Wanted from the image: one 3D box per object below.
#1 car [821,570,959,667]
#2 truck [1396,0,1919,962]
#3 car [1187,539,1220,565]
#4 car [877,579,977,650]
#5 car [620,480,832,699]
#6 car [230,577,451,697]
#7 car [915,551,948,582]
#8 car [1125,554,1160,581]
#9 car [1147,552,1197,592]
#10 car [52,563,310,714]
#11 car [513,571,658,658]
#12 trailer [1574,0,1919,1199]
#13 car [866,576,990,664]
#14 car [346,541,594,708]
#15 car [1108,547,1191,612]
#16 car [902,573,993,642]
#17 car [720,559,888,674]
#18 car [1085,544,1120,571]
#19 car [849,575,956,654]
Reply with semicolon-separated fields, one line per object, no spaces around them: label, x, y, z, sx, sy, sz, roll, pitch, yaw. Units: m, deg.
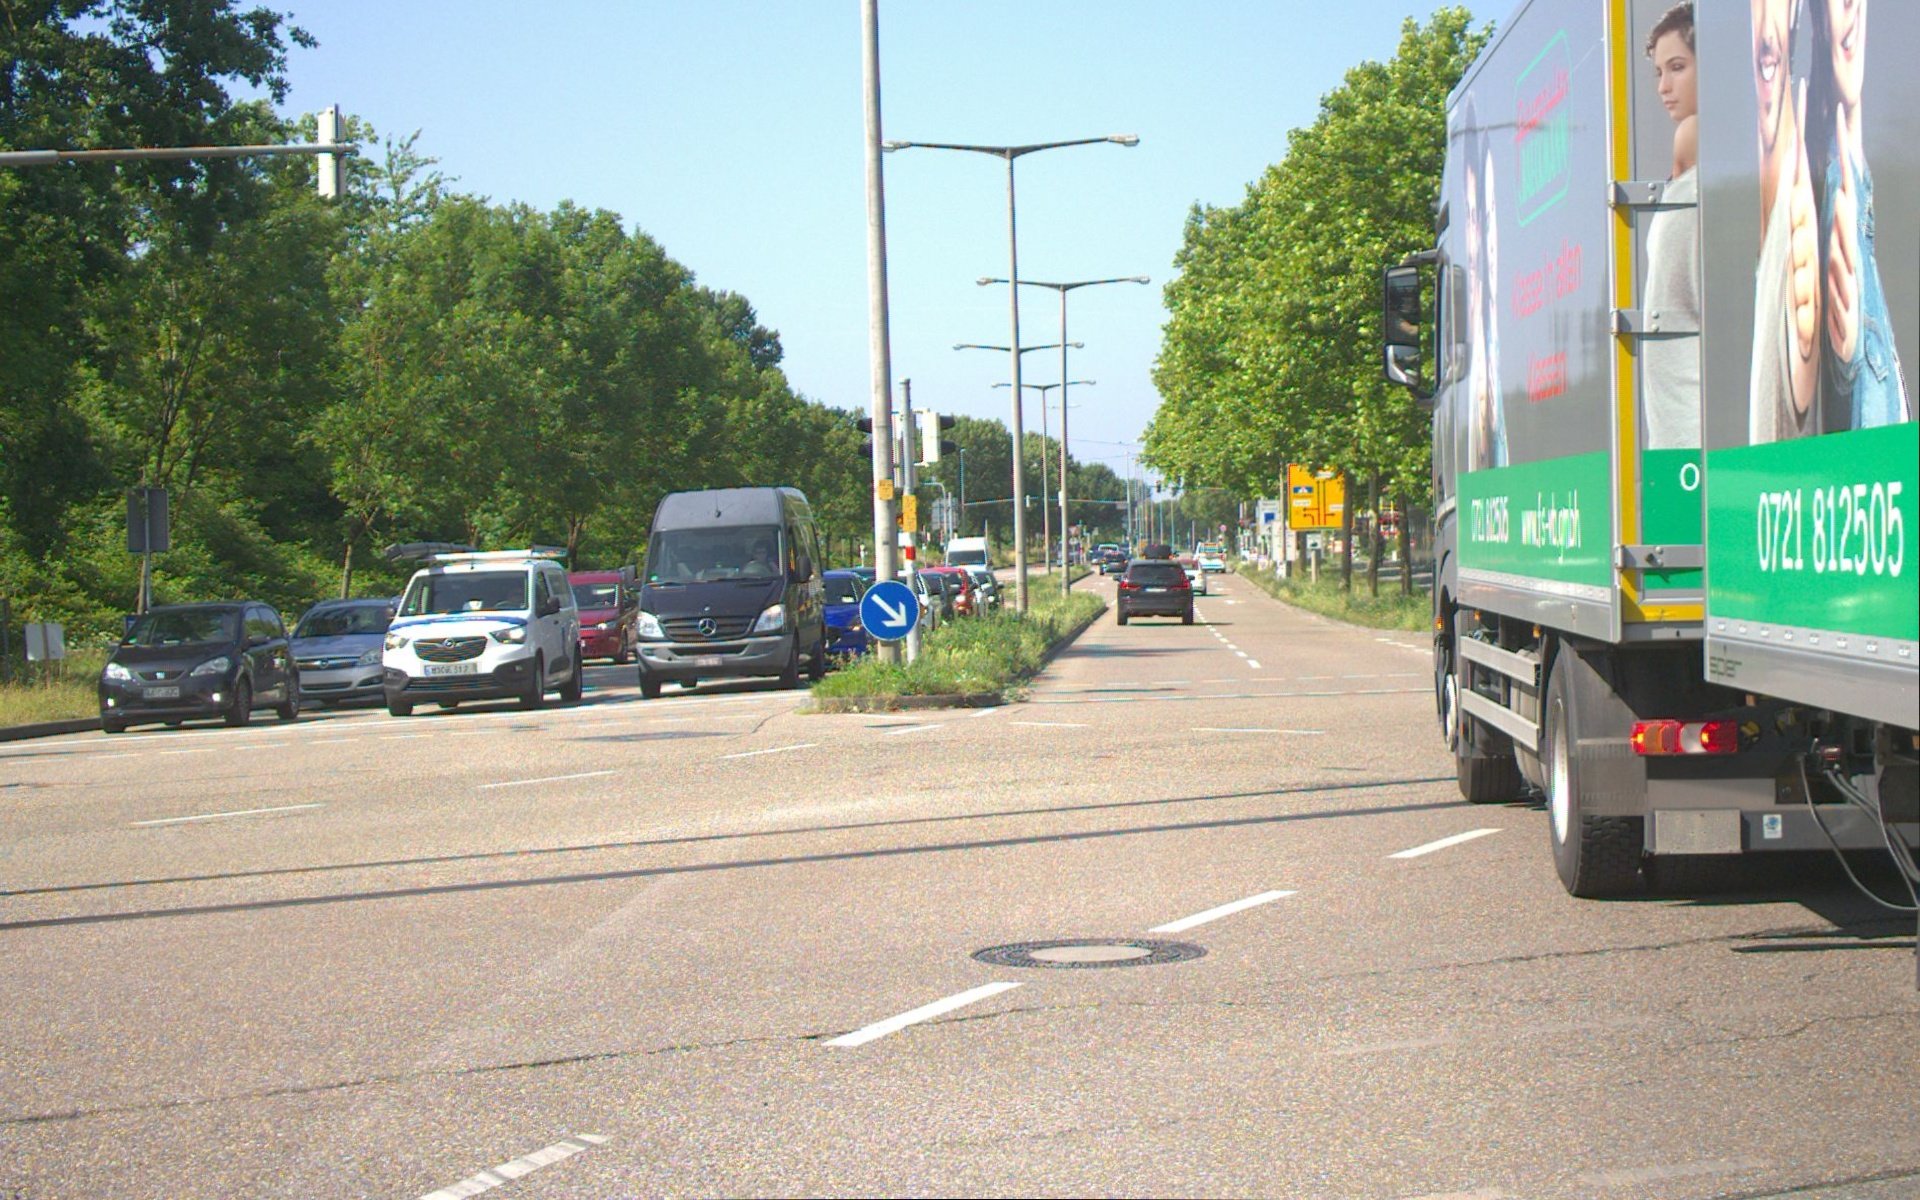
car;-1.163;0.303;58.871;1.994;1.579;3.999;1;0;4
truck;3.684;-0.748;15.738;2.730;3.876;8.721;0;0;3
car;15.280;-3.021;215.895;1.994;1.579;4.455;1;0;4
car;-0.739;0.329;80.031;1.994;1.579;3.999;1;0;4
car;-2.934;-0.129;44.215;1.994;2.598;5.133;-1;0;4
car;-8.445;0.483;47.220;1.994;1.535;4.235;-1;0;4
car;-1.897;-2.251;229.421;1.888;2.007;4.000;1;0;3
car;11.016;-1.944;207.552;1.994;1.579;4.455;1;0;4
car;8.762;-1.142;142.054;1.994;1.579;4.455;1;0;4
car;-8.981;0.424;39.946;1.911;1.636;3.736;-1;0;4
car;-7.181;0.265;66.335;1.994;1.579;4.455;1;0;4
trailer;3.238;-0.720;7.508;2.736;3.864;7.734;-1;0;3
car;-0.567;0.369;64.777;1.994;1.579;3.999;1;0;4
car;-5.846;0.278;41.598;1.994;1.864;4.773;-1;0;4
car;4.801;-0.506;86.645;1.994;1.579;4.455;1;0;4
car;-0.287;0.176;85.602;1.994;1.634;4.000;1;0;3
car;-2.280;0.237;51.290;1.994;1.579;3.999;-2;0;4
car;8.626;-2.561;207.668;1.994;1.579;4.455;1;0;4
car;-1.214;0.308;74.285;1.994;1.634;4.000;1;0;3
